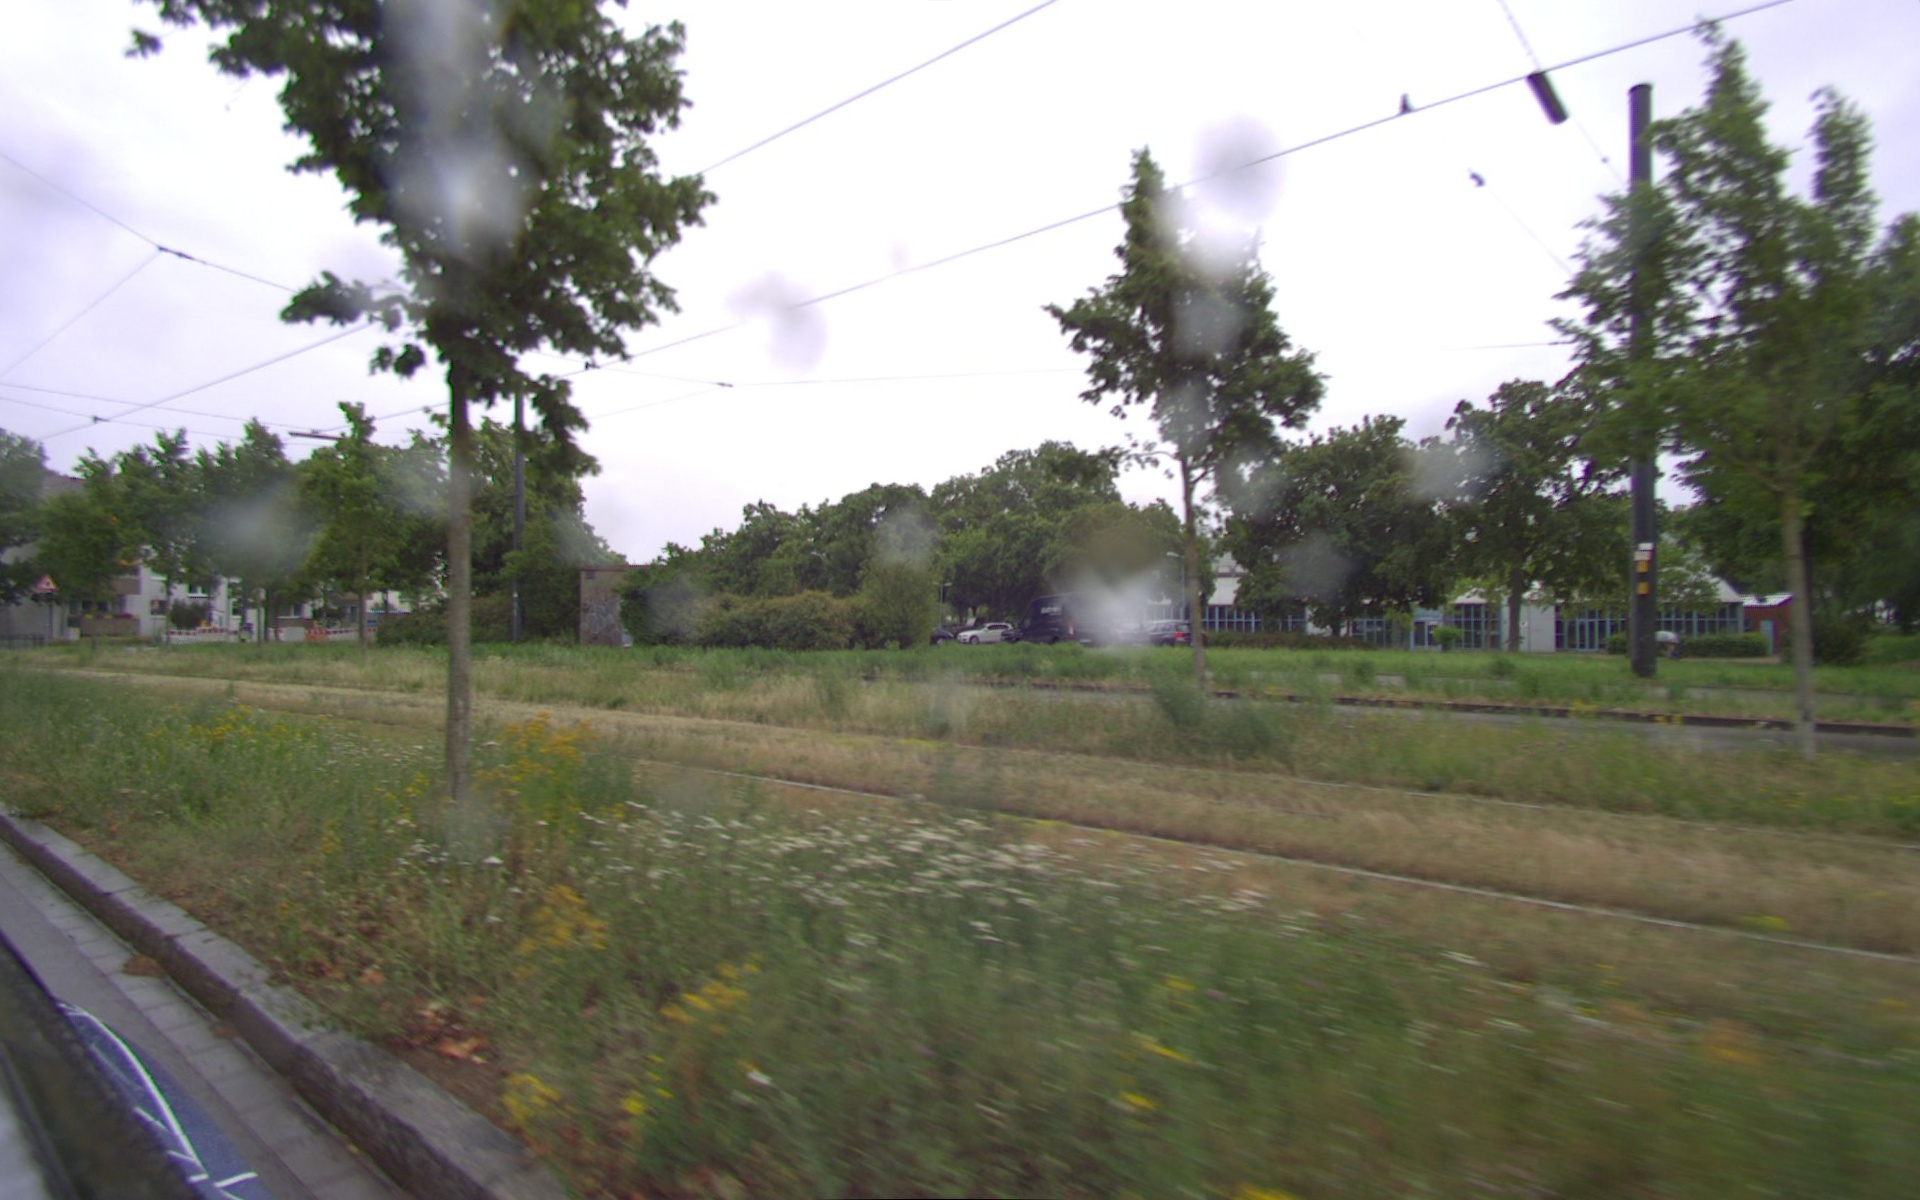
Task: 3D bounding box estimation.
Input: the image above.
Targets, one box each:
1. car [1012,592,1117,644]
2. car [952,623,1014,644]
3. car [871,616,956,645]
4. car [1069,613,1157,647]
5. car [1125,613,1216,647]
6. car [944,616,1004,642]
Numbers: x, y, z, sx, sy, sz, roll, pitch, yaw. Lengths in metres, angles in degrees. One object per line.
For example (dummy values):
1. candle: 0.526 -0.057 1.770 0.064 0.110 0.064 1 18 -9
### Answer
1. car: 4.086 0.746 40.411 2.001 1.962 4.730 1 -2 -25
2. car: 1.640 2.327 70.587 3.991 1.445 1.696 0 -1 -27
3. car: -2.357 1.538 51.269 3.992 1.445 1.696 0 -1 -18
4. car: 6.278 1.249 42.082 1.805 1.349 4.111 1 -2 -21
5. car: 8.774 1.277 42.608 1.805 1.349 4.111 1 -2 -21
6. car: 1.023 2.086 73.186 3.991 1.836 1.696 0 -1 -27
